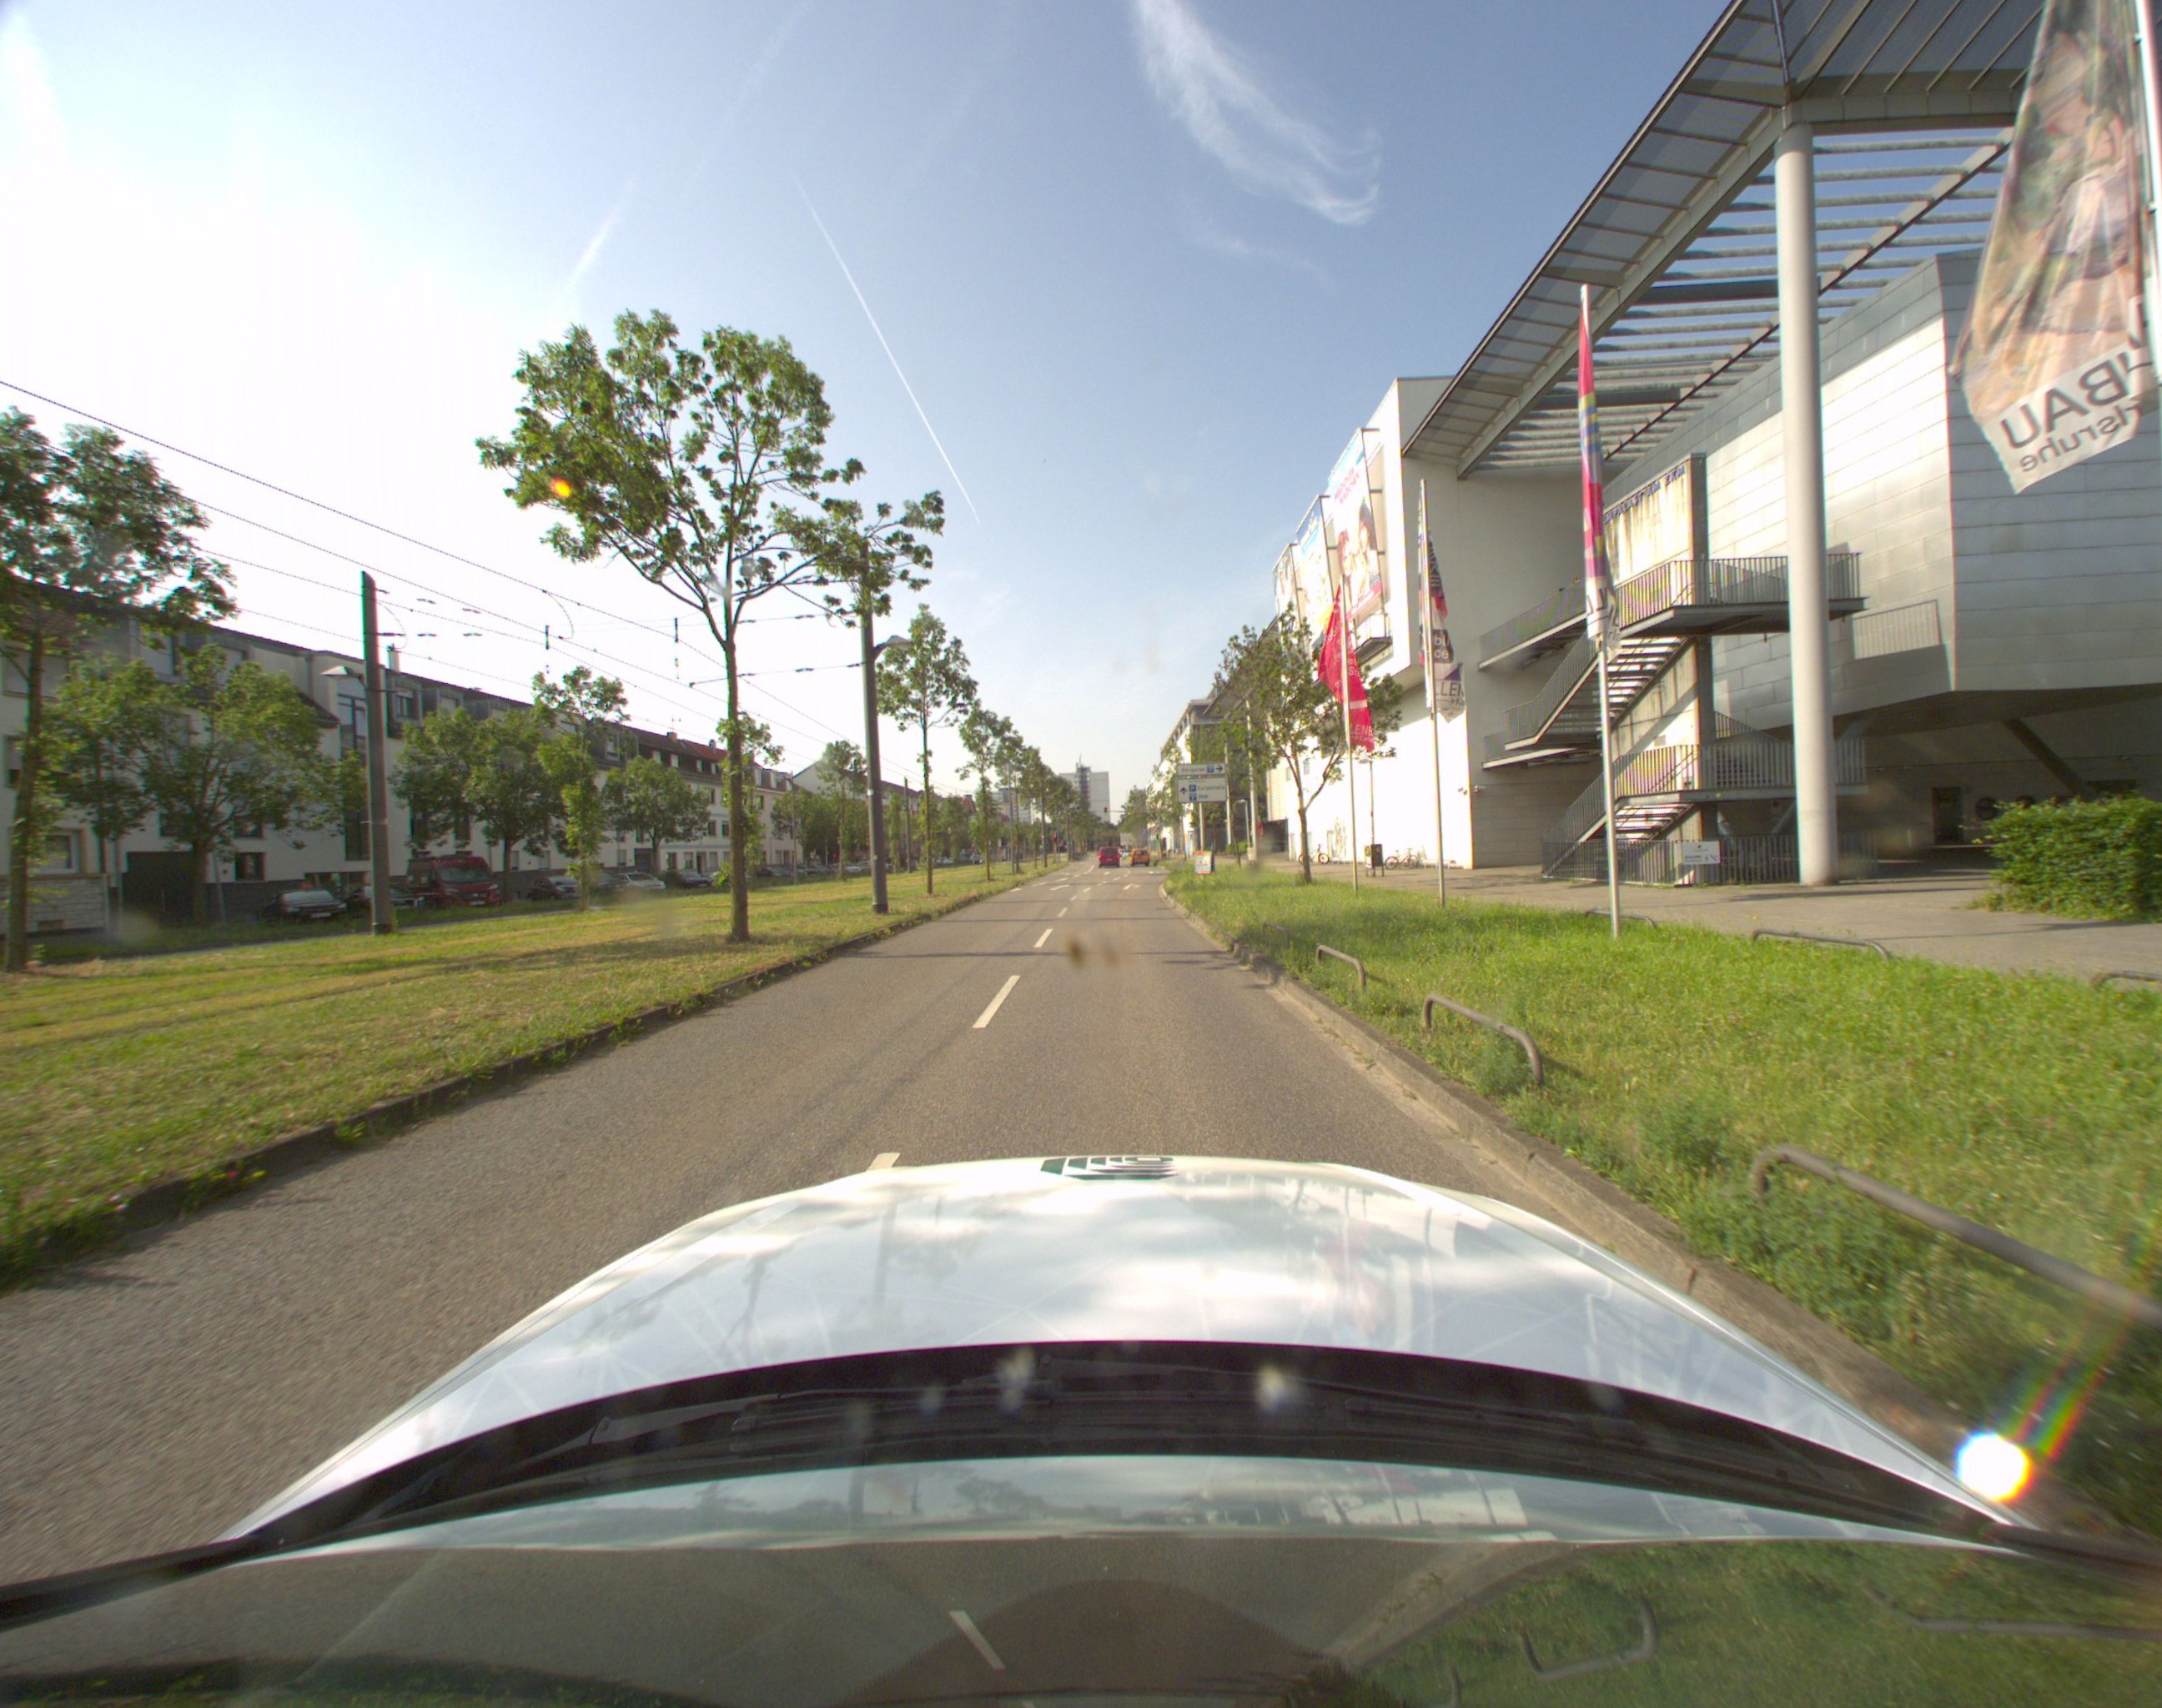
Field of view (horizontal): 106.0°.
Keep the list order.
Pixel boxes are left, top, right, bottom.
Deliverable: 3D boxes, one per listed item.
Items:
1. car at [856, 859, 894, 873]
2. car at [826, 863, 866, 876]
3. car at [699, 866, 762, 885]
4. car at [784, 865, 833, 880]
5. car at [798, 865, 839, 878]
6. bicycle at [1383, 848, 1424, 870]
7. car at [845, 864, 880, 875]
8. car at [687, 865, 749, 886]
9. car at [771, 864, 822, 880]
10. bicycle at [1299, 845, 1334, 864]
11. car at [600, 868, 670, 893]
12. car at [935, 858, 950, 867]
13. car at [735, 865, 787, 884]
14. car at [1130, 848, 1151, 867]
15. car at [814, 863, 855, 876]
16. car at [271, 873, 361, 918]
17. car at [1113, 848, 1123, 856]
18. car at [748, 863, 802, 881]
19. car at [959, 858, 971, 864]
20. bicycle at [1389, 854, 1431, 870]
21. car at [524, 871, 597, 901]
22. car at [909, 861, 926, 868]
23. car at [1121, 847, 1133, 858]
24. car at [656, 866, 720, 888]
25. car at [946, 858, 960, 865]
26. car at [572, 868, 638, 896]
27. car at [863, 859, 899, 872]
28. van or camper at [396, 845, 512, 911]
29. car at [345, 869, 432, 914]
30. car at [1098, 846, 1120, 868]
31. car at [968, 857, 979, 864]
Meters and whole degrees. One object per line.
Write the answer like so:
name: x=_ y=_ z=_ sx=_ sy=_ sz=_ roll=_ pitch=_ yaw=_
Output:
car: x=-24.280 y=1.396 z=95.861 sx=4.407 sy=1.514 sz=2.013 roll=-2 pitch=0 yaw=38
car: x=-24.909 y=1.626 z=86.173 sx=3.948 sy=1.269 sz=1.898 roll=-1 pitch=0 yaw=31
car: x=-26.017 y=1.590 z=60.461 sx=4.285 sy=1.376 sz=2.012 roll=-1 pitch=0 yaw=27
car: x=-24.632 y=1.634 z=73.518 sx=4.008 sy=1.288 sz=2.012 roll=-1 pitch=0 yaw=29
car: x=-25.559 y=1.675 z=79.343 sx=3.948 sy=1.235 sz=1.710 roll=-1 pitch=0 yaw=35
bicycle: x=14.712 y=0.215 z=37.194 sx=1.651 sy=0.915 sz=0.483 roll=-2 pitch=0 yaw=1
car: x=-25.067 y=1.734 z=93.415 sx=3.949 sy=1.178 sz=2.012 roll=-1 pitch=0 yaw=42
car: x=-25.246 y=1.517 z=56.614 sx=3.949 sy=1.376 sz=1.939 roll=-1 pitch=0 yaw=28
car: x=-24.851 y=1.585 z=71.035 sx=3.950 sy=1.288 sz=2.012 roll=-1 pitch=0 yaw=27
bicycle: x=14.936 y=0.019 z=51.732 sx=1.998 sy=1.102 sz=0.676 roll=-3 pitch=0 yaw=5
car: x=-25.954 y=1.527 z=47.329 sx=4.342 sy=1.320 sz=1.745 roll=-1 pitch=0 yaw=34
car: x=-25.165 y=1.453 z=148.269 sx=1.974 sy=1.556 sz=4.537 roll=-1 pitch=0 yaw=1
car: x=-24.629 y=1.565 z=62.699 sx=3.733 sy=1.376 sz=1.674 roll=-1 pitch=0 yaw=27
car: x=5.778 y=0.299 z=79.044 sx=1.868 sy=1.696 sz=3.975 roll=-2 pitch=0 yaw=2
car: x=-25.176 y=1.606 z=83.078 sx=3.948 sy=1.258 sz=1.888 roll=-1 pitch=0 yaw=34
car: x=-27.997 y=1.475 z=29.771 sx=4.100 sy=1.509 sz=1.880 roll=-1 pitch=-3 yaw=40
car: x=7.123 y=-0.364 z=157.478 sx=1.682 sy=1.526 sz=3.852 roll=-4 pitch=0 yaw=2
car: x=-25.501 y=1.519 z=67.913 sx=3.950 sy=1.288 sz=2.012 roll=-2 pitch=0 yaw=27
car: x=-24.748 y=1.457 z=173.857 sx=1.974 sy=1.360 sz=4.070 roll=-1 pitch=0 yaw=1
bicycle: x=14.716 y=0.351 z=36.463 sx=1.651 sy=0.645 sz=0.538 roll=-3 pitch=0 yaw=1
car: x=-26.323 y=1.574 z=41.139 sx=3.948 sy=1.420 sz=1.793 roll=-1 pitch=0 yaw=36
car: x=-26.030 y=1.648 z=129.846 sx=1.827 sy=1.147 sz=4.165 roll=-1 pitch=0 yaw=1
car: x=7.460 y=-0.265 z=131.117 sx=1.714 sy=1.519 sz=3.781 roll=-3 pitch=1 yaw=1
car: x=-26.267 y=1.550 z=54.417 sx=3.949 sy=1.376 sz=1.847 roll=-1 pitch=0 yaw=28
car: x=-24.814 y=1.452 z=158.158 sx=1.974 sy=1.360 sz=4.070 roll=-1 pitch=0 yaw=1
car: x=-25.740 y=1.479 z=44.007 sx=3.673 sy=1.434 sz=1.652 roll=-1 pitch=0 yaw=34
car: x=-24.449 y=1.429 z=99.500 sx=4.297 sy=1.463 sz=1.976 roll=-1 pitch=0 yaw=34
van or camper: x=-26.981 y=1.014 z=34.959 sx=6.082 sy=2.546 sz=2.430 roll=-2 pitch=0 yaw=38
car: x=-27.159 y=1.439 z=31.902 sx=4.100 sy=1.616 sz=1.880 roll=-1 pitch=-3 yaw=40
car: x=2.531 y=0.280 z=74.299 sx=1.868 sy=1.853 sz=4.000 roll=-2 pitch=0 yaw=0
car: x=-24.337 y=1.455 z=184.596 sx=1.974 sy=1.513 sz=4.281 roll=-1 pitch=0 yaw=1
